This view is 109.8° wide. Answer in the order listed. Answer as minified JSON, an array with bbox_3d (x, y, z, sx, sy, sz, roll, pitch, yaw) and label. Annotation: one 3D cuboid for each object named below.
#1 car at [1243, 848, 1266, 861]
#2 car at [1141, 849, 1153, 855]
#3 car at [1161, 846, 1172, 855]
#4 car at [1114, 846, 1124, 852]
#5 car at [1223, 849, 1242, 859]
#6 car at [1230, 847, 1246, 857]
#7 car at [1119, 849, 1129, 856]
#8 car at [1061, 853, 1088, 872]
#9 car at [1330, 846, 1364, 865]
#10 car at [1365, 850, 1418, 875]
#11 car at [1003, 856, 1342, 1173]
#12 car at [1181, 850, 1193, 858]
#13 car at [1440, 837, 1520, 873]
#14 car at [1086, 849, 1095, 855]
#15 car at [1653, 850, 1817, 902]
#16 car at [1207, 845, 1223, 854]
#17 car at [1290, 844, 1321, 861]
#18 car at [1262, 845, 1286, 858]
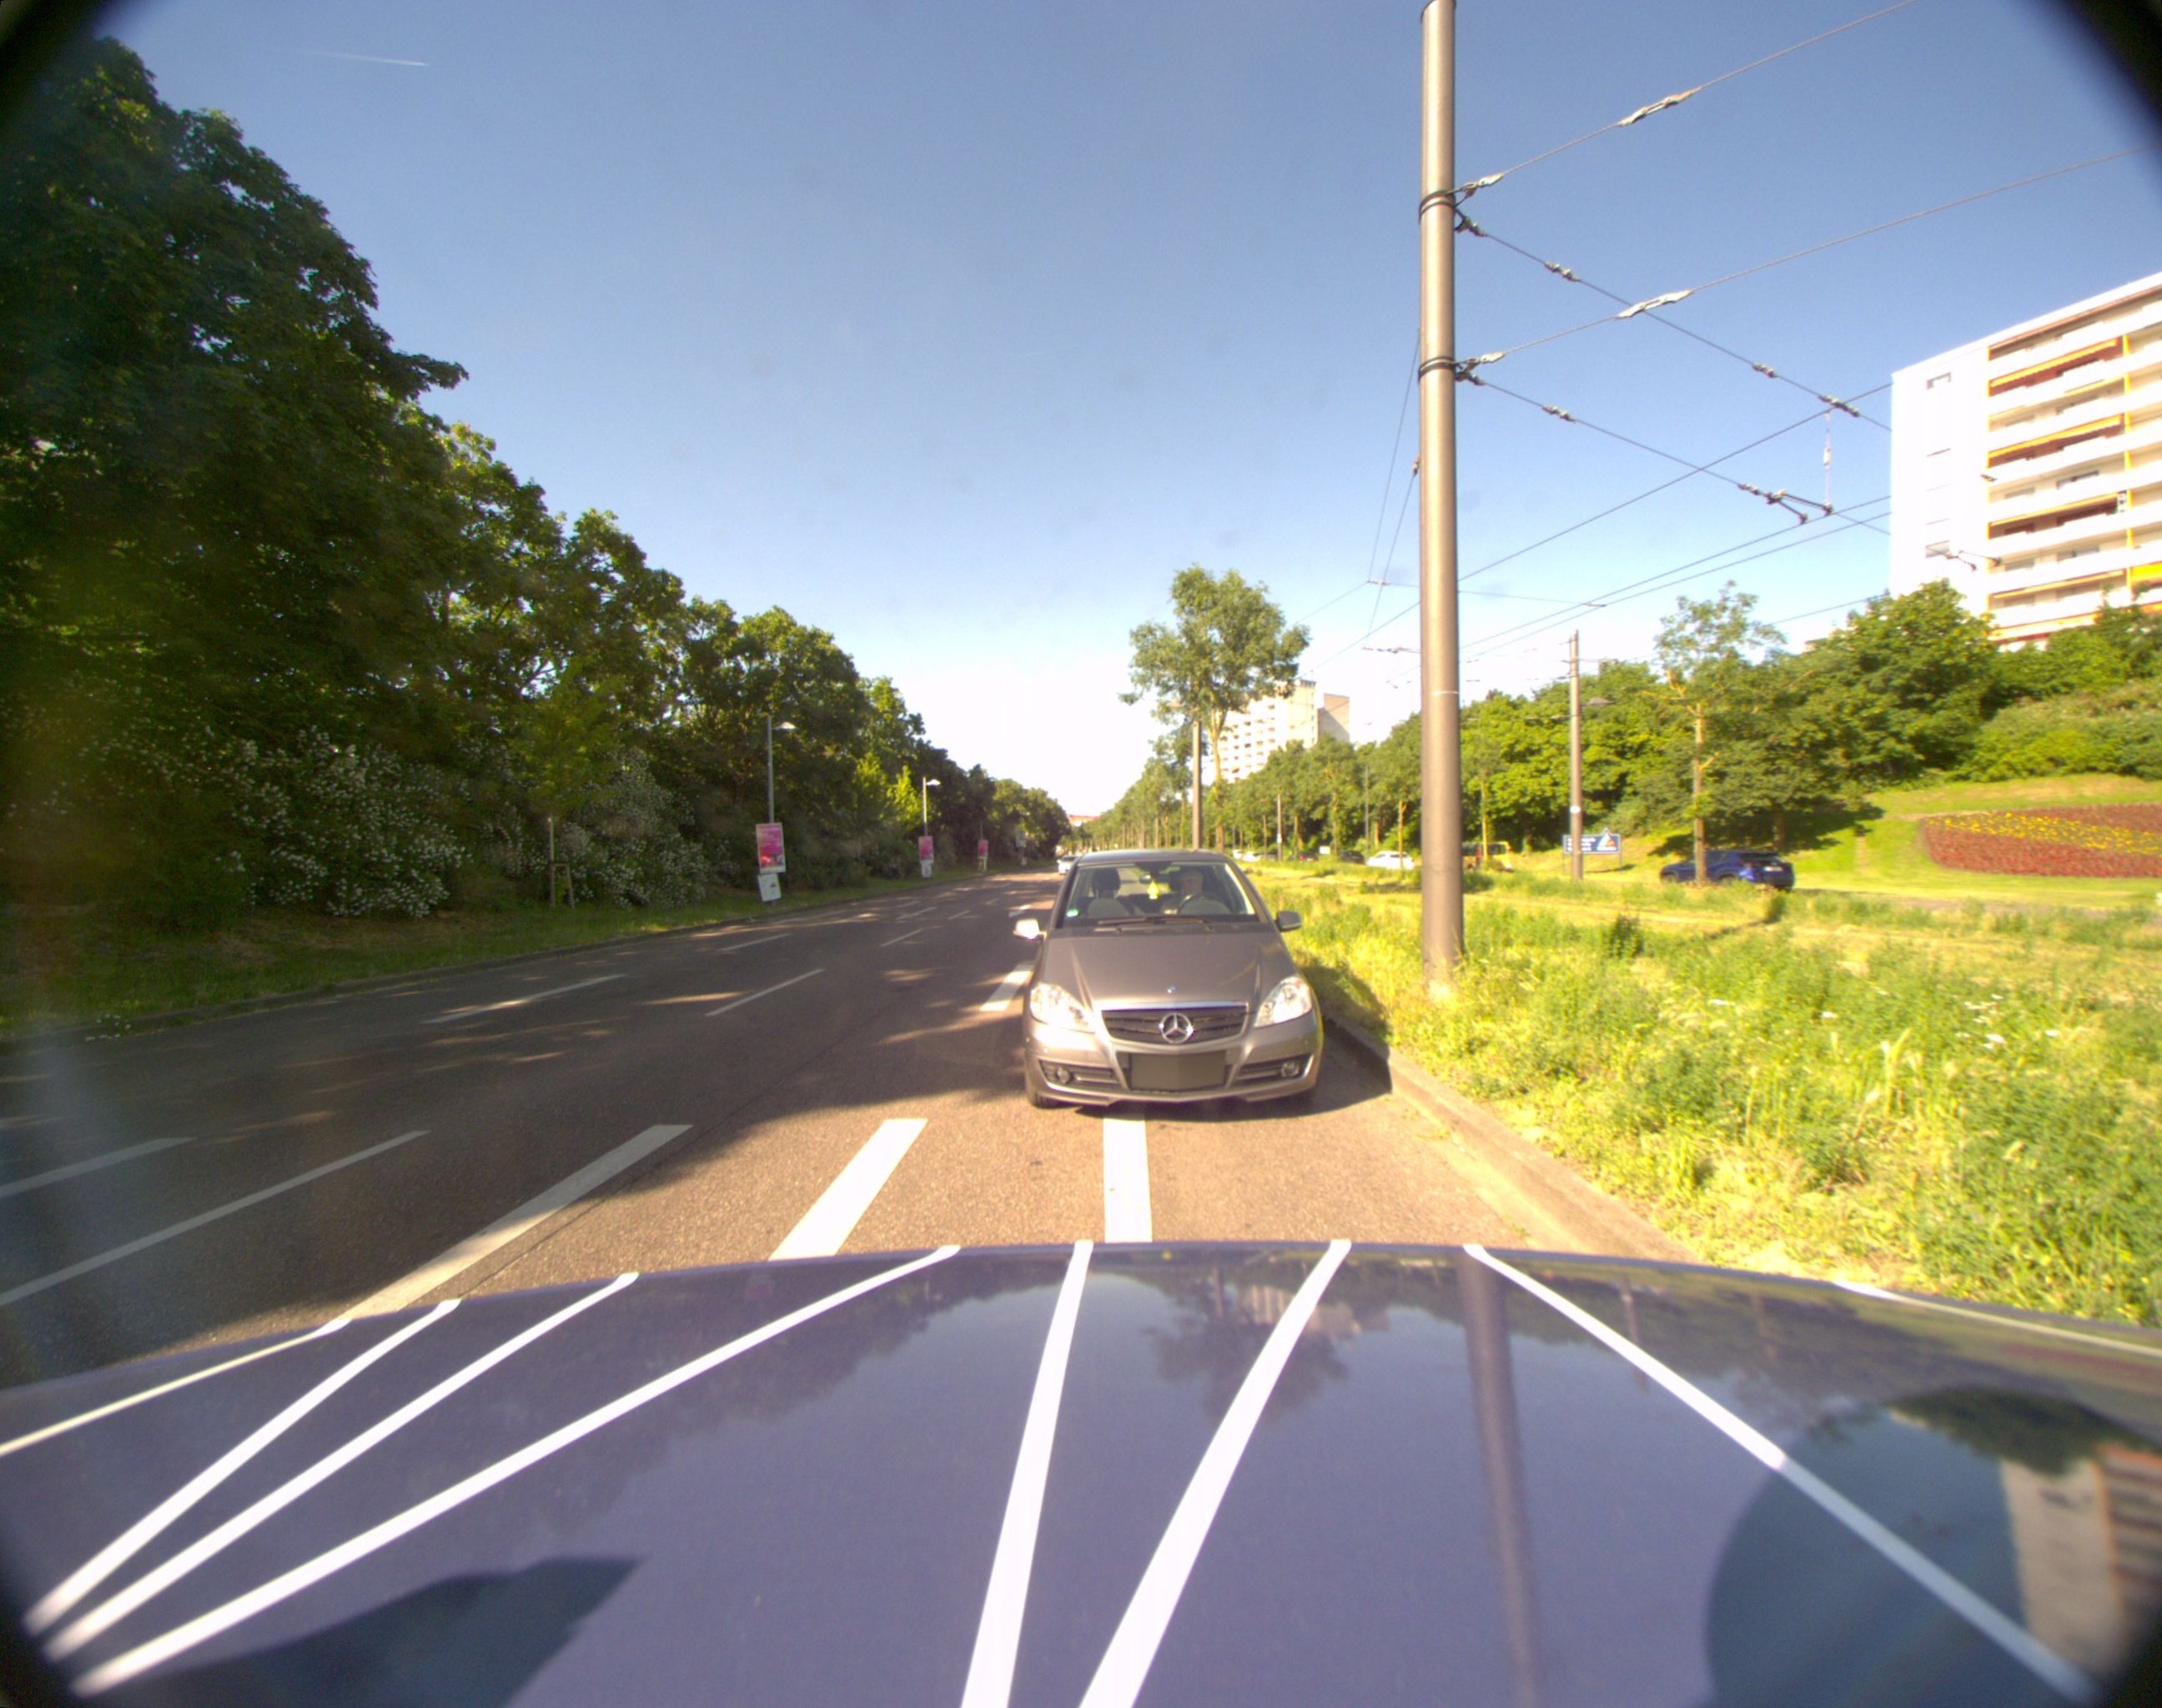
[{"bbox_3d":[19.825,0.033,86.894,1.867,1.410,4.000,-1,0,3],"label":"car"},{"bbox_3d":[16.688,-0.500,191.949,1.911,1.652,3.996,-1,0,-9],"label":"car"},{"bbox_3d":[17.453,-0.724,155.269,1.882,1.755,4.000,-1,0,1],"label":"car"},{"bbox_3d":[11.209,-1.529,226.836,1.884,1.755,3.995,-1,0,-13],"label":"car"},{"bbox_3d":[20.324,-0.034,102.154,1.825,1.353,4.230,-1,0,3],"label":"car"},{"bbox_3d":[22.496,-0.315,108.741,1.740,1.368,4.001,-1,0,4],"label":"car"},{"bbox_3d":[12.001,-0.493,212.897,2.000,2.002,3.996,-1,0,-11],"label":"car"},{"bbox_3d":[-0.441,0.621,58.720,1.875,1.428,4.594,-1,0,2],"label":"car"},{"bbox_3d":[22.799,0.114,65.286,1.792,1.499,4.242,-1,0,5],"label":"car"},{"bbox_3d":[19.256,0.508,47.240,1.693,1.399,4.022,-2,0,1],"label":"car"},{"bbox_3d":[0.507,0.854,5.925,1.759,1.612,3.880,-1,0,1],"label":"car"},{"bbox_3d":[20.583,-0.040,147.421,1.802,1.455,4.000,-1,0,1],"label":"car"},{"bbox_3d":[22.532,0.065,43.172,1.998,1.955,4.907,1,0,1],"label":"car"},{"bbox_3d":[3.043,-0.571,252.713,1.944,2.002,3.994,-1,0,-17],"label":"car"},{"bbox_3d":[21.843,0.672,25.627,1.998,1.565,4.106,-1,0,1],"label":"car"},{"bbox_3d":[22.377,-0.776,126.886,1.998,1.477,4.000,-1,0,1],"label":"car"},{"bbox_3d":[19.748,-0.136,66.993,1.799,1.408,4.311,-2,0,4],"label":"car"},{"bbox_3d":[22.802,-0.299,89.918,1.867,1.410,4.000,-1,0,2],"label":"car"}]
